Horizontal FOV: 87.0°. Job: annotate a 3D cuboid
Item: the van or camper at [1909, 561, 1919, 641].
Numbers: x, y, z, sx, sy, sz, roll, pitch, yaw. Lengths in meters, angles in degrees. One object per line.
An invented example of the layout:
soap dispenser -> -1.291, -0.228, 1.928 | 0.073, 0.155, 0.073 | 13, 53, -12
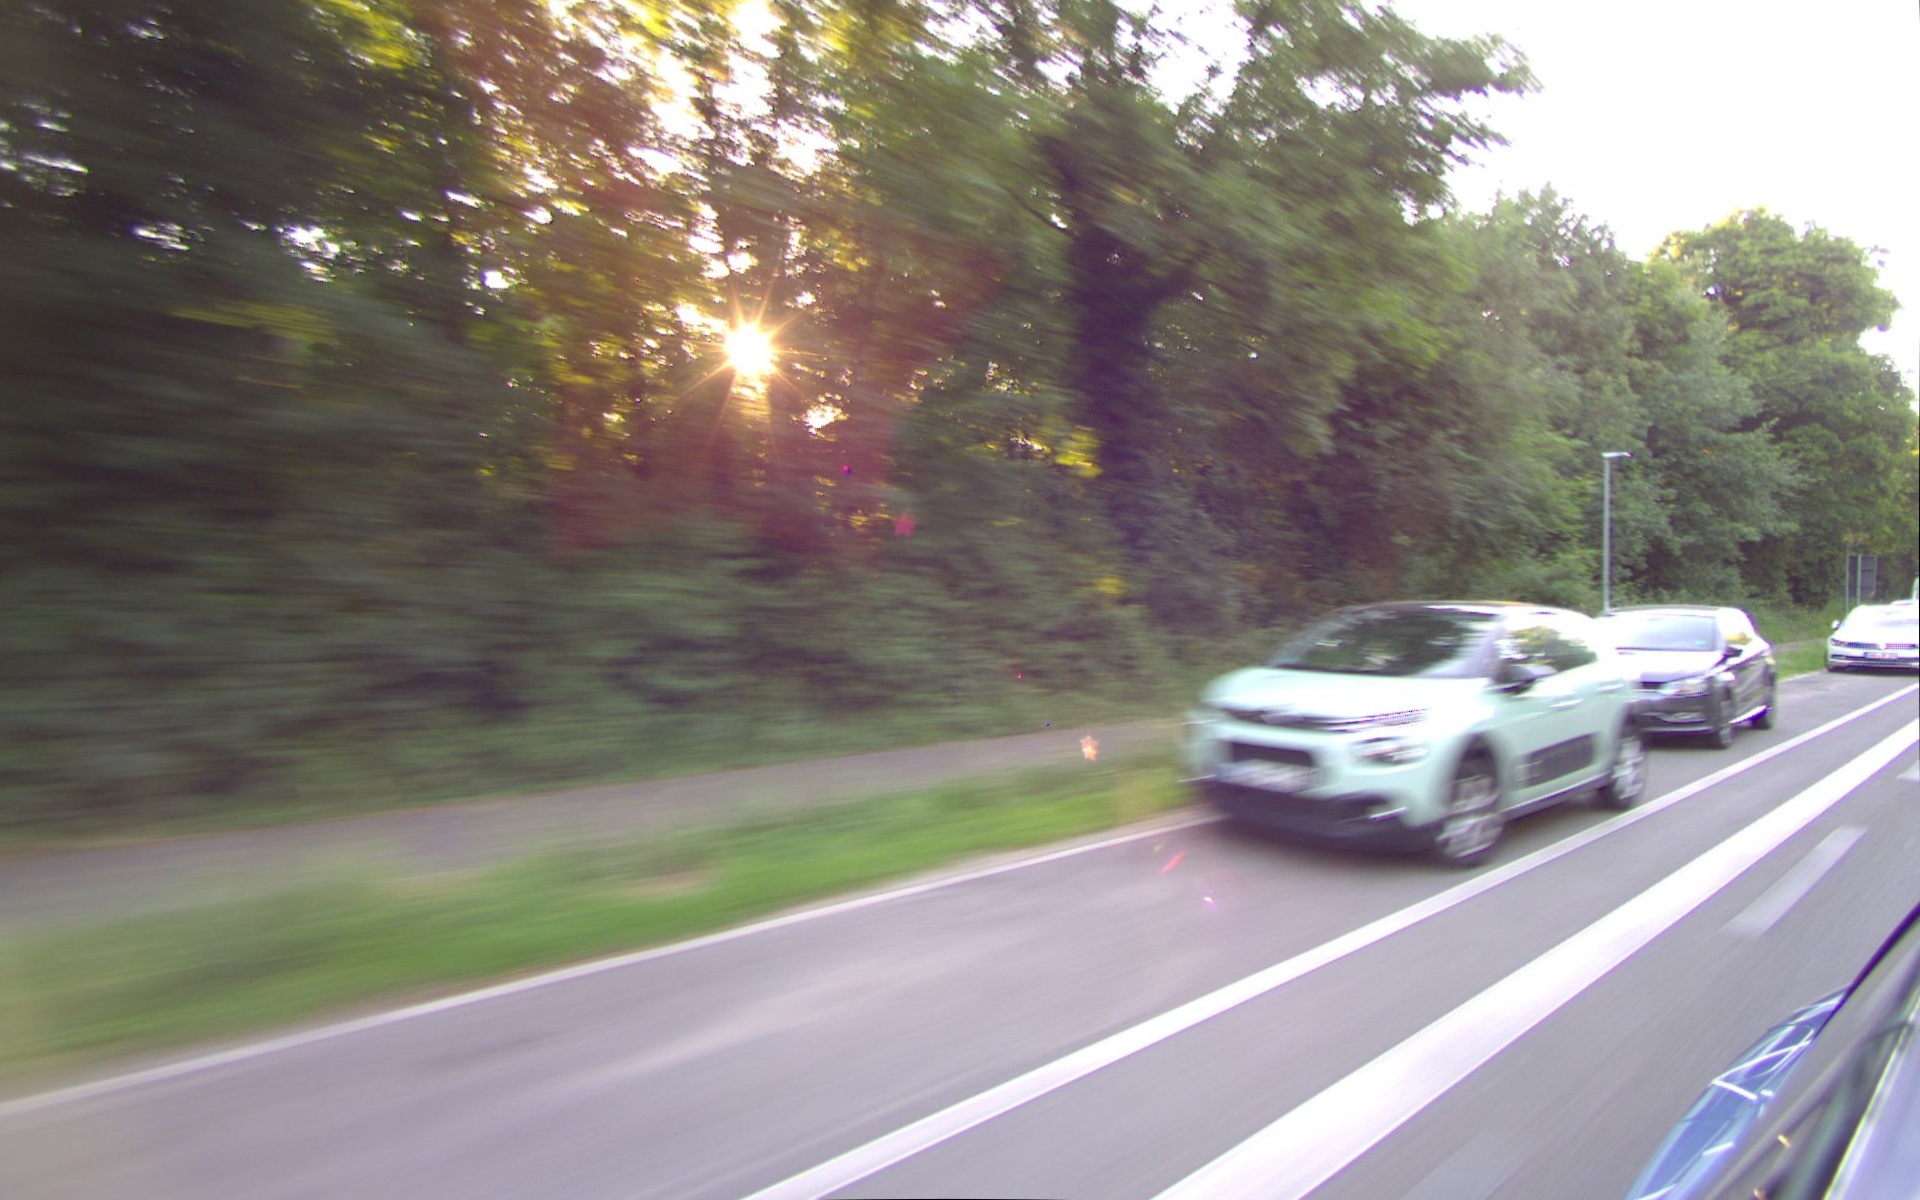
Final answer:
van or camper -> 33.401, 0.008, 33.704 | 5.956, 2.573, 2.130 | -1, 0, -42

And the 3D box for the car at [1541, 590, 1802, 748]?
car -> 8.166, 0.640, 11.482 | 3.893, 1.464, 1.581 | 0, 2, -42

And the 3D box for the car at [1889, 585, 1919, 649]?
car -> 28.736, 0.472, 29.682 | 4.645, 1.787, 1.853 | 0, 0, -43

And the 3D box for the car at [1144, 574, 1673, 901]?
car -> 3.215, 0.646, 6.871 | 4.040, 1.565, 1.692 | 0, 2, -41

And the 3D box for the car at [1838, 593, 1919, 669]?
car -> 20.873, 0.644, 22.307 | 4.679, 1.512, 1.845 | 1, 0, -43
